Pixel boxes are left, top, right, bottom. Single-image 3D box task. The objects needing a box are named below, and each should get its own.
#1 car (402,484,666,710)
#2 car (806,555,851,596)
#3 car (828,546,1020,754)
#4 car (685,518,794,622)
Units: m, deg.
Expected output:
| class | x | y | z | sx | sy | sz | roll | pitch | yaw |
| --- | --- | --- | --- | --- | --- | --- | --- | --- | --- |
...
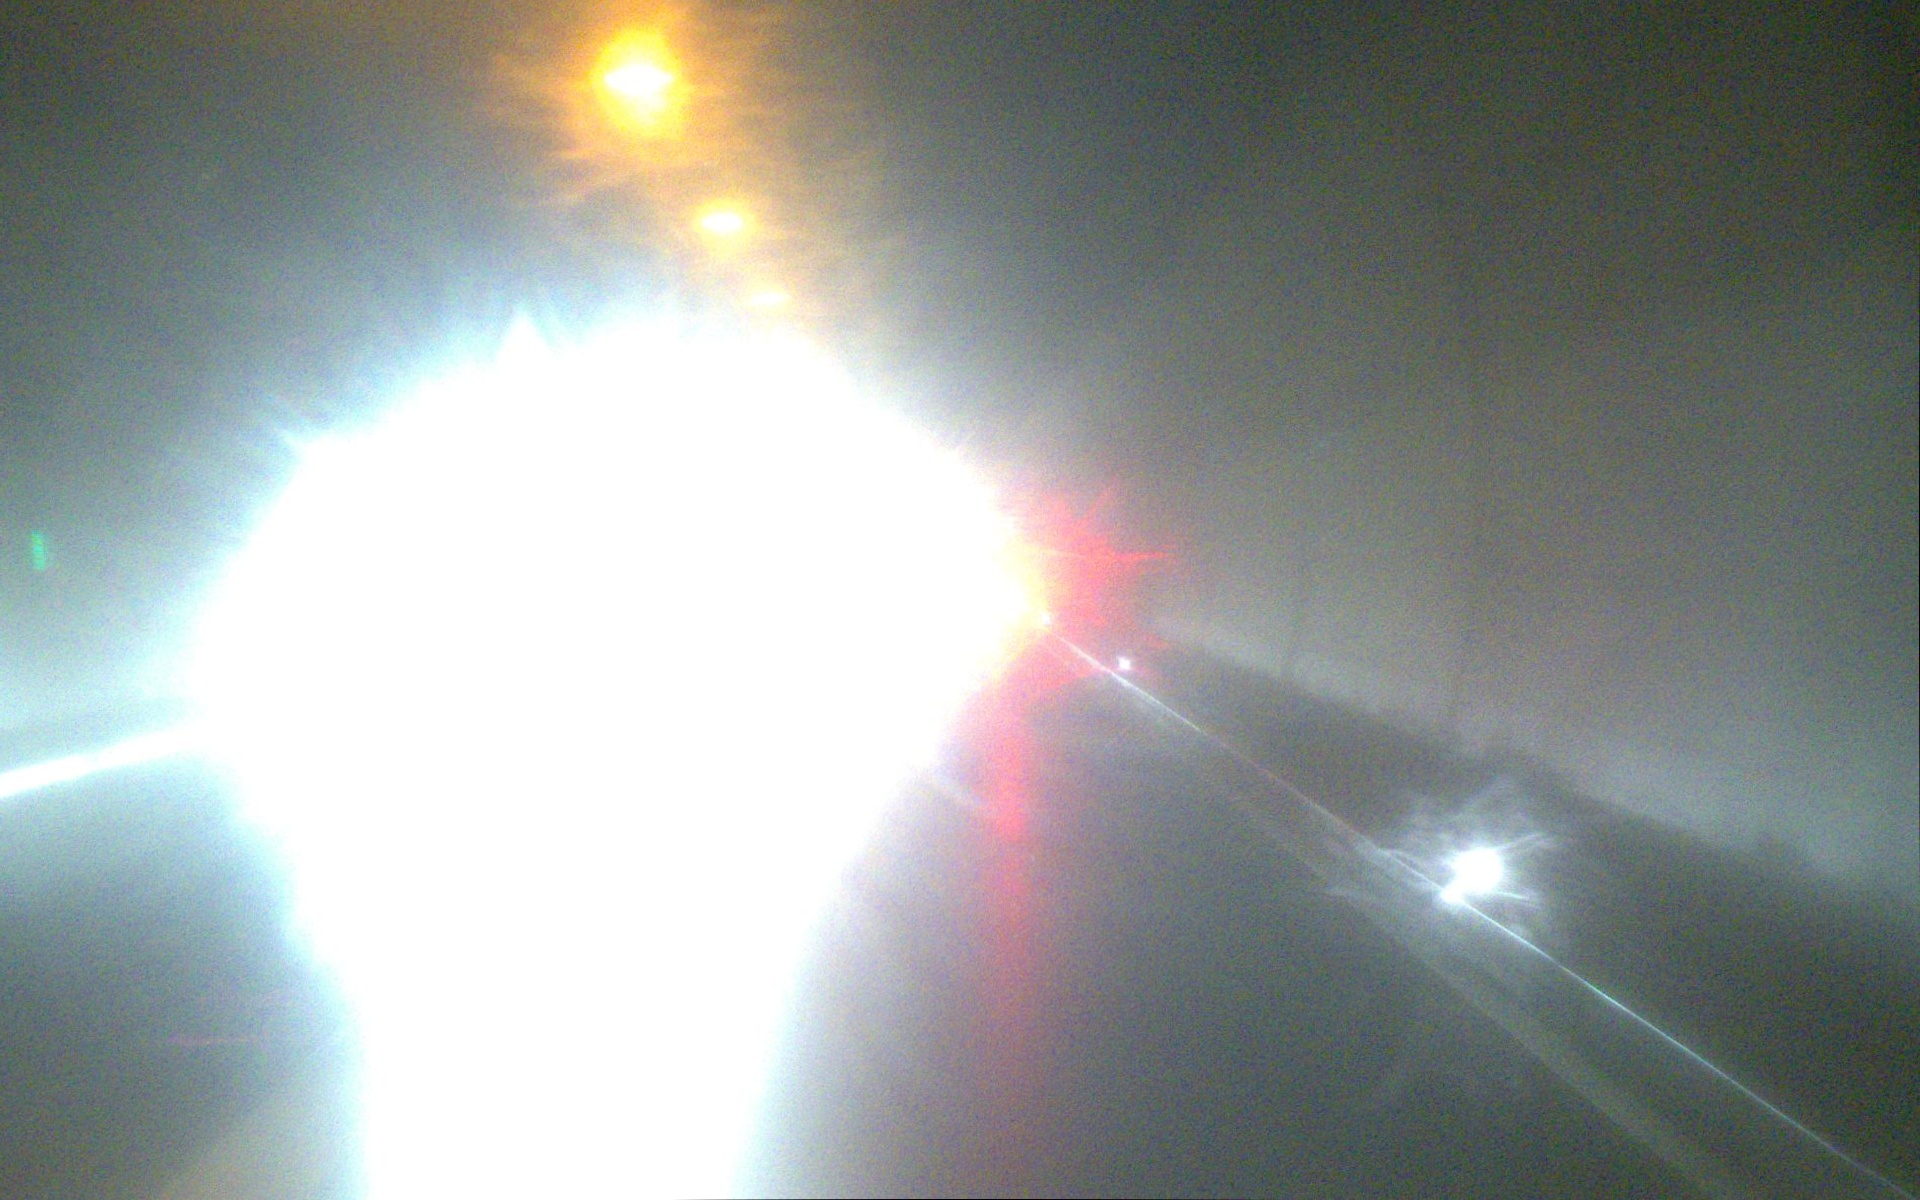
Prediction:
| class | x | y | z | sx | sy | sz | roll | pitch | yaw |
| --- | --- | --- | --- | --- | --- | --- | --- | --- | --- |
| car | -3.822 | -0.076 | 31.561 | 1.841 | 1.893 | 4.608 | -1 | 1 | 0 |
| car | -5.117 | -0.955 | 134.208 | 1.635 | 1.529 | 3.646 | -1 | 1 | 0 |
| car | -0.317 | 0.397 | 31.902 | 1.635 | 1.752 | 4.146 | -1 | 1 | 0 |
| car | -4.148 | -0.603 | 65.342 | 1.761 | 1.893 | 4.608 | -1 | 1 | 0 |
